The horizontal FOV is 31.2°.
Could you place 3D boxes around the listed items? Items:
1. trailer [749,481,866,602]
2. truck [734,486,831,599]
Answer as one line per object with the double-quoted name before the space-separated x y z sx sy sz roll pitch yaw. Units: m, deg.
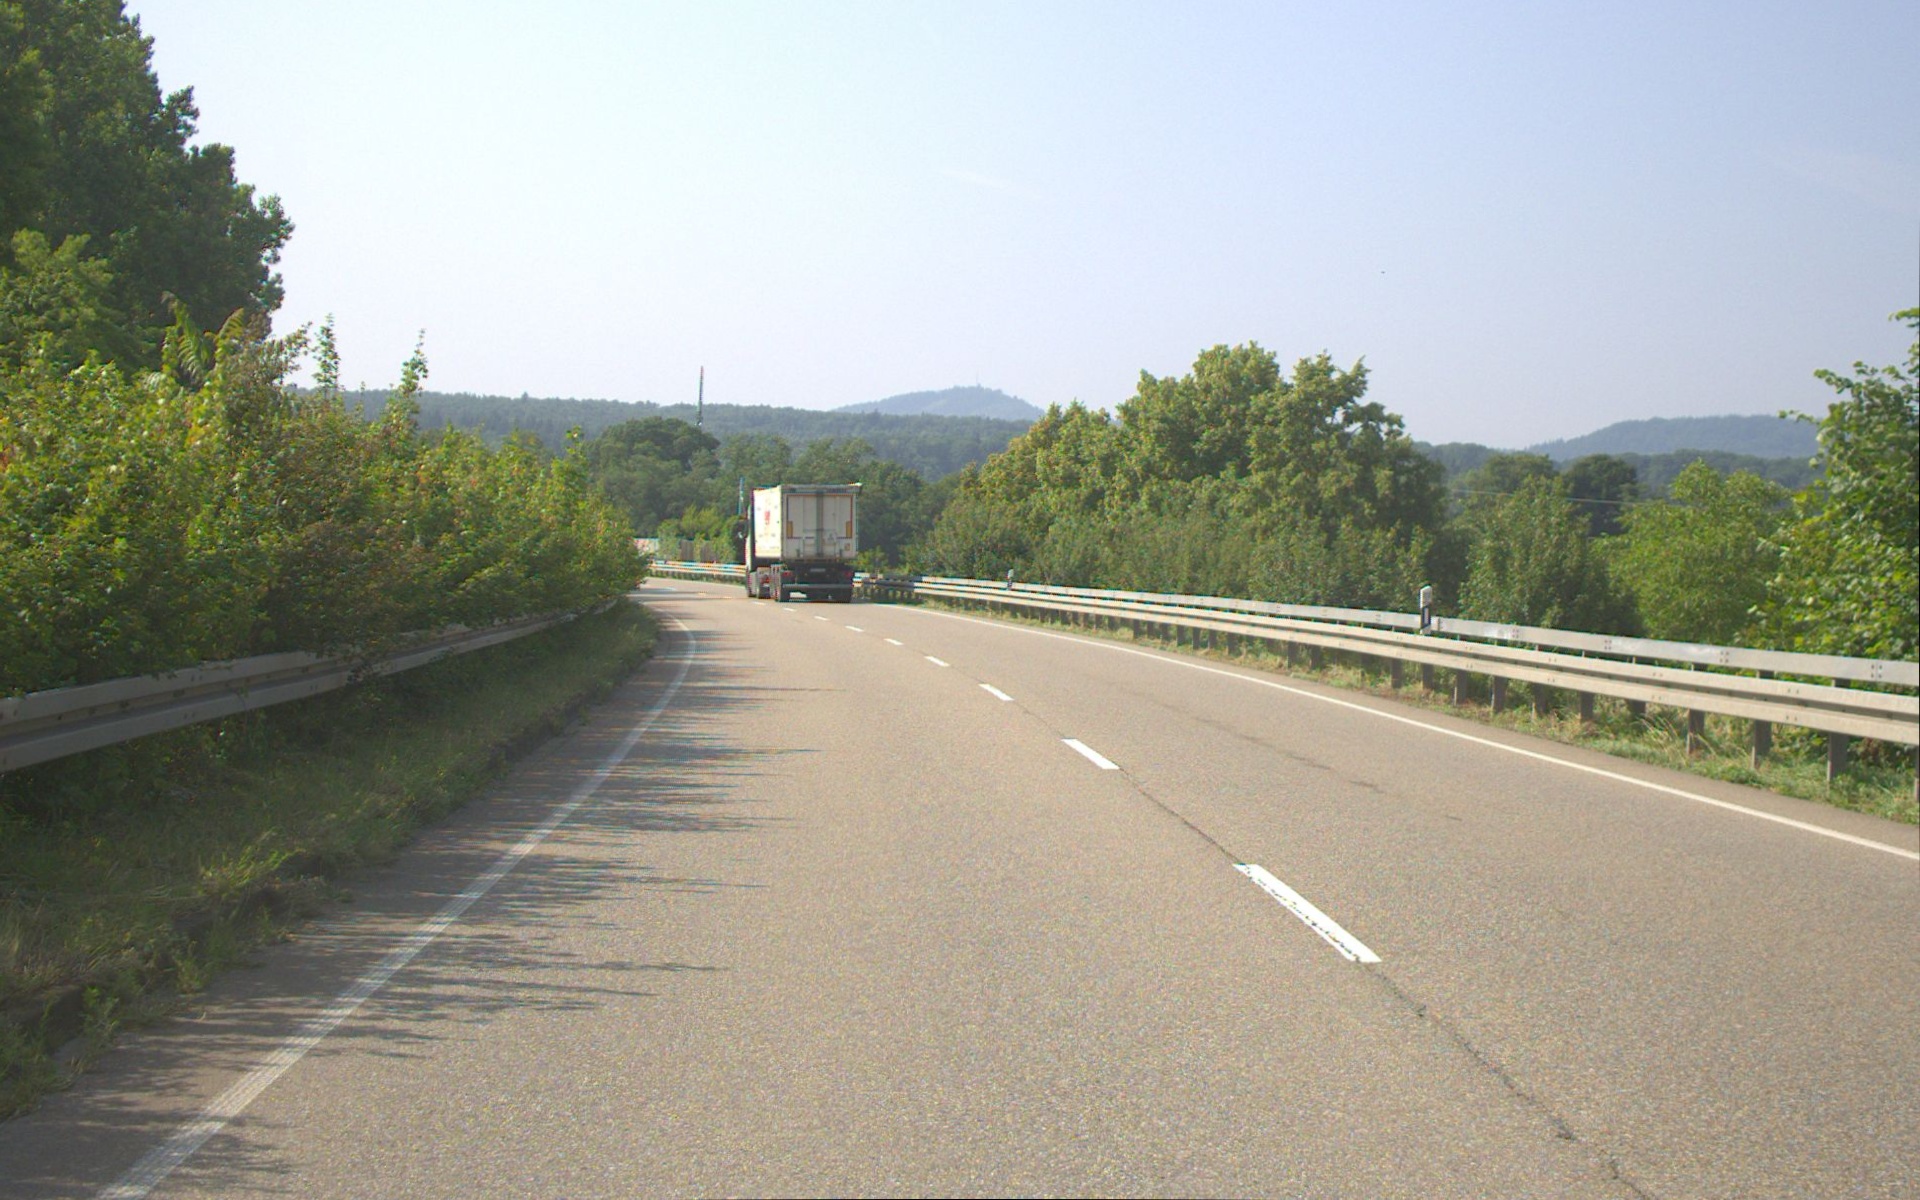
"trailer" -5.234 -1.963 116.144 2.678 3.894 9.675 0 1 -10
"truck" -6.349 -2.060 122.277 2.658 3.883 5.650 1 1 -10
